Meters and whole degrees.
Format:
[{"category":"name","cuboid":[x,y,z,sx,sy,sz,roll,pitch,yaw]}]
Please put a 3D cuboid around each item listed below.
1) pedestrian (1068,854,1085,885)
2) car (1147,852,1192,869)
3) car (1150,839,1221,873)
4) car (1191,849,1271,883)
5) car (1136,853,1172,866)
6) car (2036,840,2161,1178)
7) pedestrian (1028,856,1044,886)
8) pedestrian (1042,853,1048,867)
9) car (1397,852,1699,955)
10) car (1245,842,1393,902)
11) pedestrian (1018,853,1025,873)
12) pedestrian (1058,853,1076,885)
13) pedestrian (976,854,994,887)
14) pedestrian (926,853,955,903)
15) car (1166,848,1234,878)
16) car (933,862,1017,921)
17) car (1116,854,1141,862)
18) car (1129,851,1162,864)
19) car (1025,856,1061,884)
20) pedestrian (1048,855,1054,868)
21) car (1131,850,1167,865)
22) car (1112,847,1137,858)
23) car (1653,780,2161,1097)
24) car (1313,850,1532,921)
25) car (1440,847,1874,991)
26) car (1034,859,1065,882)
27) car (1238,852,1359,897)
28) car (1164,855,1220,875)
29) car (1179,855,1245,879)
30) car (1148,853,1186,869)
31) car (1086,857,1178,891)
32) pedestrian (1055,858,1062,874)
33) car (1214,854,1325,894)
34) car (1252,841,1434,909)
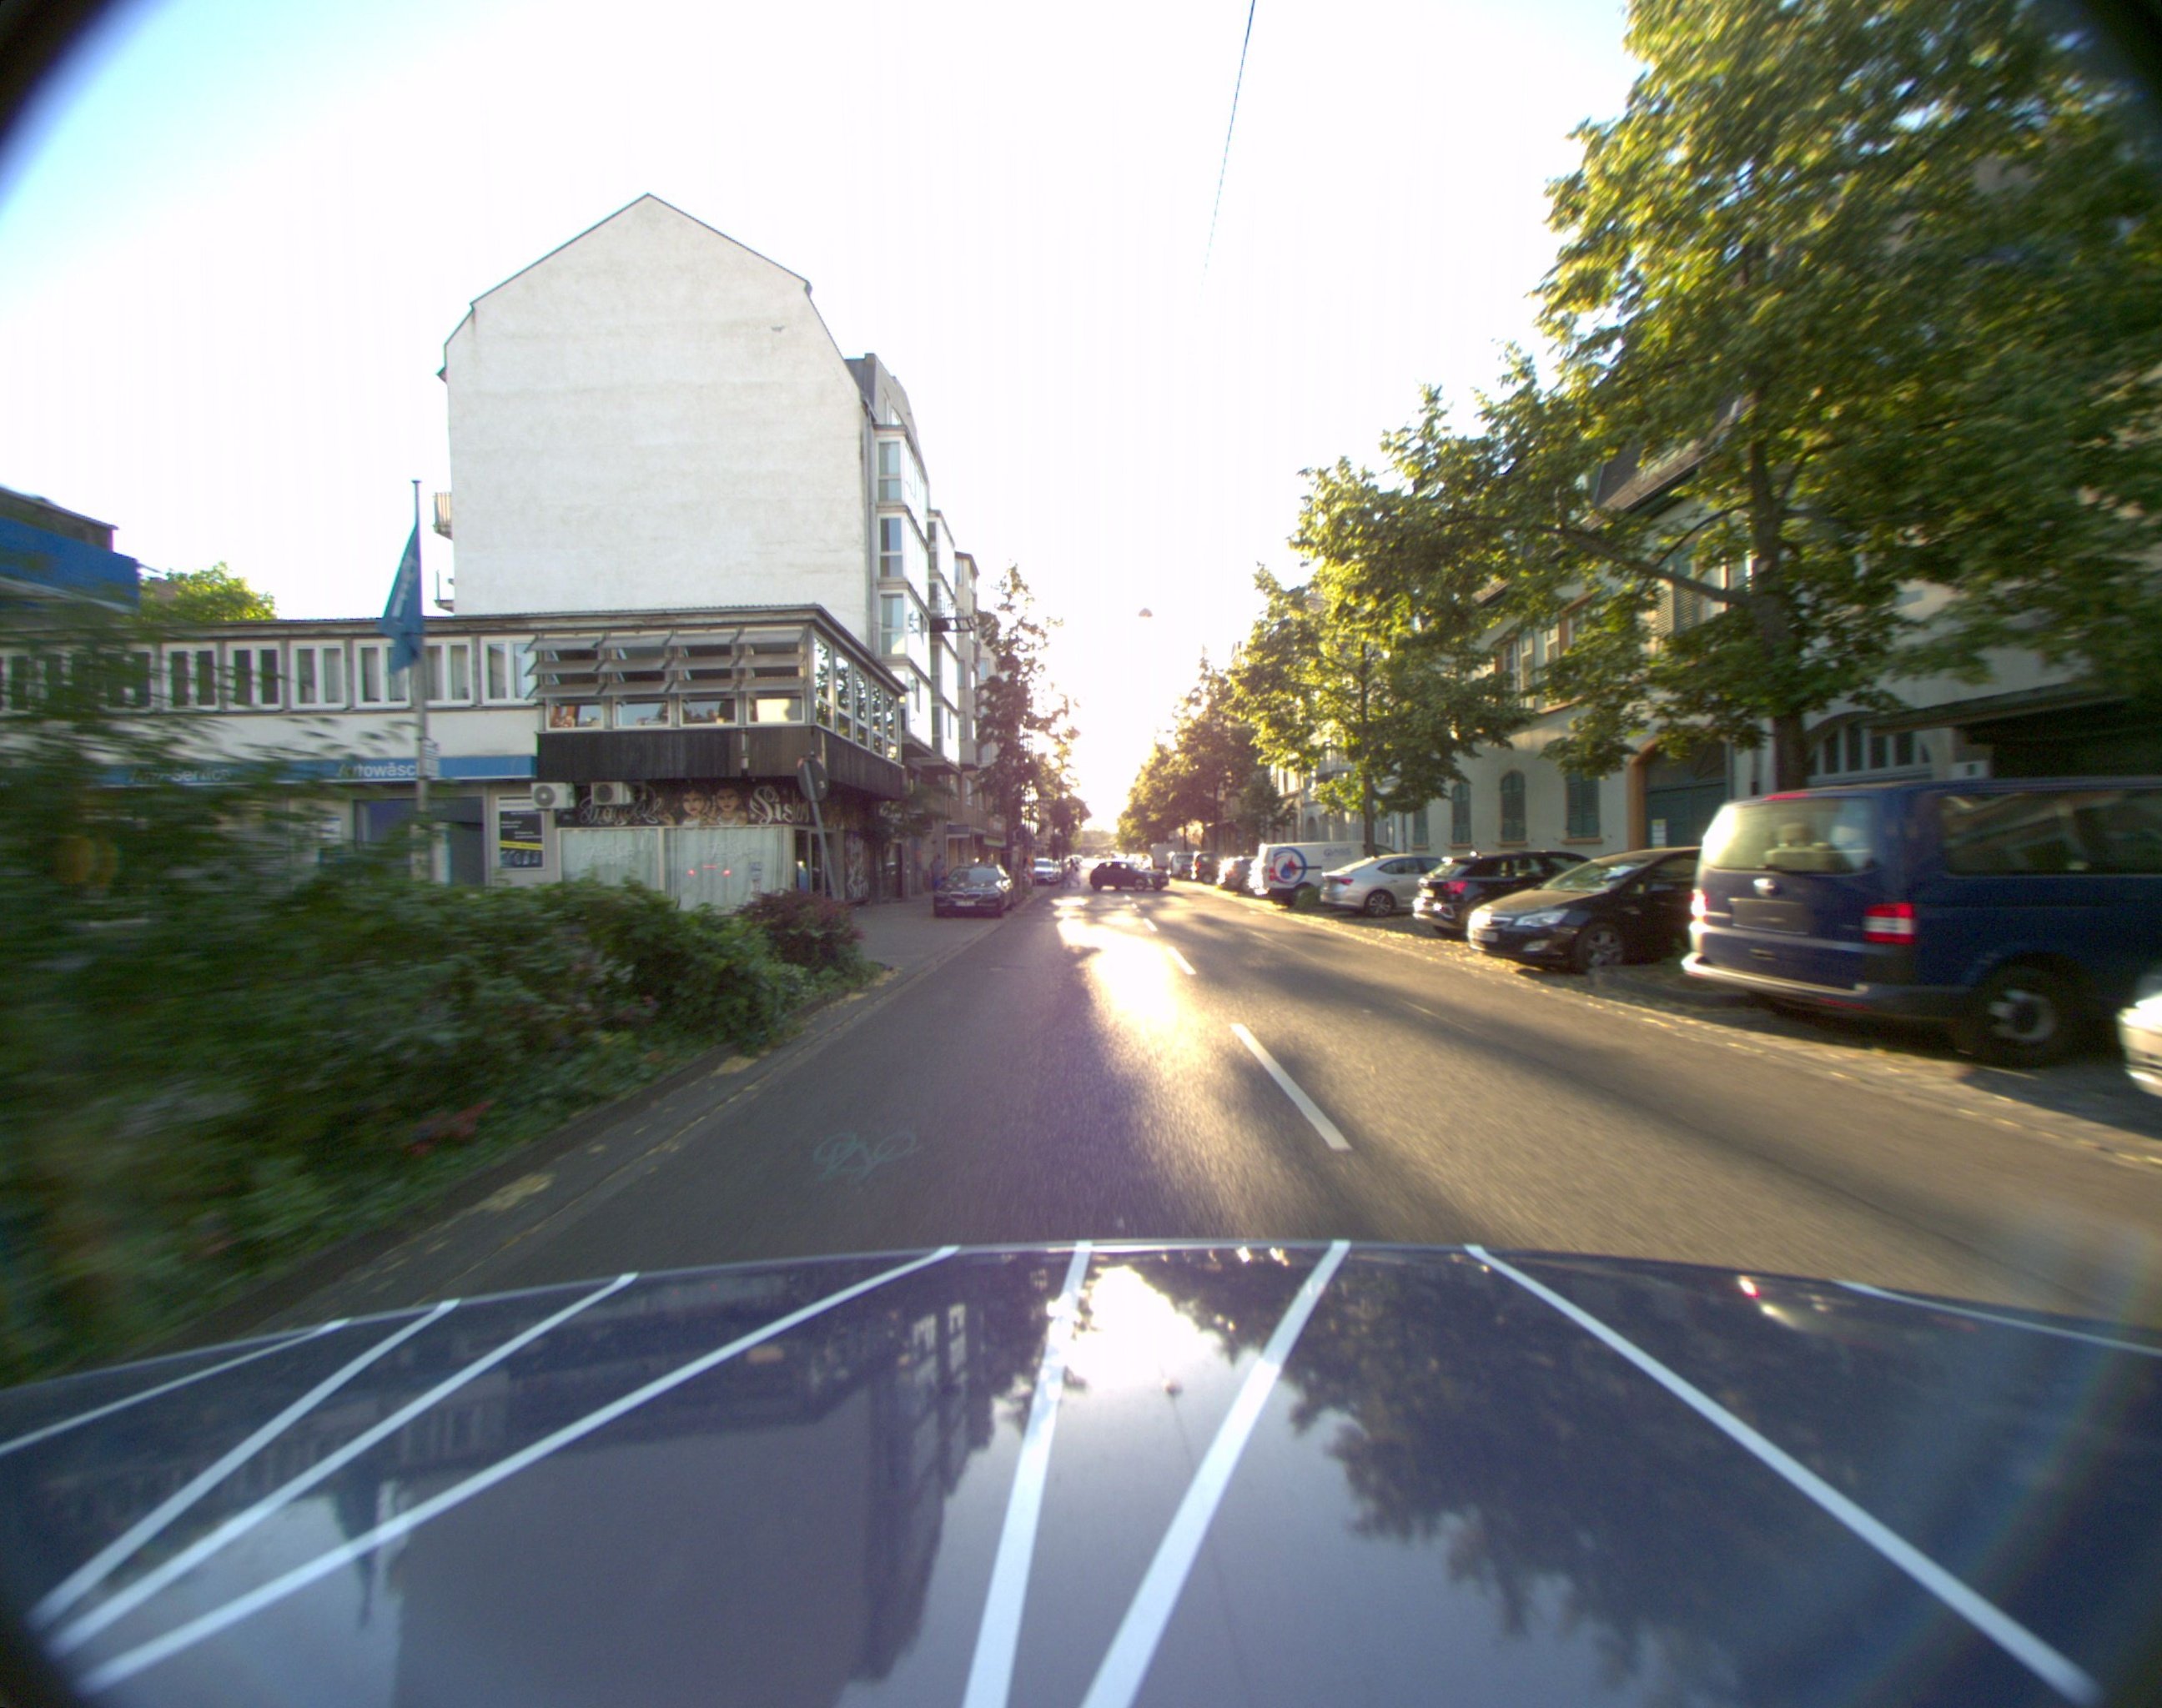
[{"category":"pedestrian","cuboid":[-0.250,0.858,42.467,0.924,1.685,0.762,-1,1,2]},{"category":"car","cuboid":[8.750,0.644,75.496,4.196,1.474,1.970,-3,0,0]},{"category":"car","cuboid":[8.750,0.180,64.008,5.672,2.606,2.171,-3,0,1]},{"category":"car","cuboid":[8.440,0.666,43.020,4.147,1.796,1.807,-1,0,3]},{"category":"car","cuboid":[9.146,0.645,95.434,4.393,1.414,1.822,-3,0,1]},{"category":"car","cuboid":[7.279,0.674,3.159,4.139,1.627,1.860,-2,0,2]},{"category":"pedestrian","cuboid":[-2.504,0.959,42.438,0.829,1.629,0.828,-1,1,2]},{"category":"pedestrian","cuboid":[-4.596,0.721,97.307,0.756,1.748,0.812,-1,1,1]},{"category":"car","cuboid":[7.788,0.793,13.007,3.932,1.492,1.905,-2,0,3]},{"category":"car","cuboid":[8.040,0.590,25.993,4.439,1.859,1.894,-1,0,2]},{"category":"pedestrian","cuboid":[-5.538,0.815,70.730,0.590,1.799,0.836,1,1,1]},{"category":"pedestrian","cuboid":[-0.779,0.798,41.645,0.924,1.749,0.762,0,0,2]},{"category":"pedestrian","cuboid":[-4.991,0.840,39.546,0.790,1.694,0.700,0,0,1]},{"category":"pedestrian","cuboid":[-5.075,0.850,27.492,0.858,1.784,0.997,0,0,1]},{"category":"car","cuboid":[8.314,0.601,53.394,4.510,1.942,1.919,-2,0,3]},{"category":"car","cuboid":[-2.959,1.000,22.233,1.833,1.479,4.849,1,0,-1]},{"category":"car","cuboid":[9.011,0.757,143.496,4.579,1.548,1.809,-1,0,-37]},{"category":"car","cuboid":[9.312,0.518,110.140,4.567,1.772,1.946,-1,1,0]},{"category":"car","cuboid":[-2.326,0.956,47.474,1.884,1.565,4.692,1,0,1]},{"category":"pedestrian","cuboid":[-3.367,0.837,84.993,0.626,1.480,0.640,0,1,2]},{"category":"car","cuboid":[9.255,0.477,103.249,4.718,1.800,2.053,-3,0,2]},{"category":"car","cuboid":[9.108,-0.308,160.443,4.782,2.344,2.153,-1,0,-27]},{"category":"car","cuboid":[7.443,0.500,5.821,4.494,1.964,2.068,-2,0,2]},{"category":"car","cuboid":[8.160,0.741,18.475,4.488,1.476,1.734,-2,0,3]},{"category":"car","cuboid":[7.284,0.760,9.896,4.338,1.492,1.841,-2,0,-4]},{"category":"car","cuboid":[-2.169,1.151,53.727,1.846,1.472,5.190,1,0,1]},{"category":"car","cuboid":[8.117,0.749,28.637,4.046,1.546,1.965,-1,0,3]},{"category":"car","cuboid":[8.561,0.829,58.673,3.997,1.396,1.749,-2,1,0]},{"category":"car","cuboid":[8.703,0.856,50.670,4.162,1.431,1.594,-2,0,2]},{"category":"car","cuboid":[9.371,0.780,82.913,3.925,1.440,1.697,-3,0,-2]},{"category":"car","cuboid":[2.355,0.937,35.727,4.060,1.453,1.689,-1,0,40]},{"category":"pedestrian","cuboid":[-1.814,0.982,61.211,0.579,1.311,0.704,1,1,1]},{"category":"car","cuboid":[7.648,0.799,31.113,4.047,1.475,1.963,-1,0,1]},{"category":"car","cuboid":[7.880,0.622,23.213,4.882,1.897,1.974,-1,0,1]}]
